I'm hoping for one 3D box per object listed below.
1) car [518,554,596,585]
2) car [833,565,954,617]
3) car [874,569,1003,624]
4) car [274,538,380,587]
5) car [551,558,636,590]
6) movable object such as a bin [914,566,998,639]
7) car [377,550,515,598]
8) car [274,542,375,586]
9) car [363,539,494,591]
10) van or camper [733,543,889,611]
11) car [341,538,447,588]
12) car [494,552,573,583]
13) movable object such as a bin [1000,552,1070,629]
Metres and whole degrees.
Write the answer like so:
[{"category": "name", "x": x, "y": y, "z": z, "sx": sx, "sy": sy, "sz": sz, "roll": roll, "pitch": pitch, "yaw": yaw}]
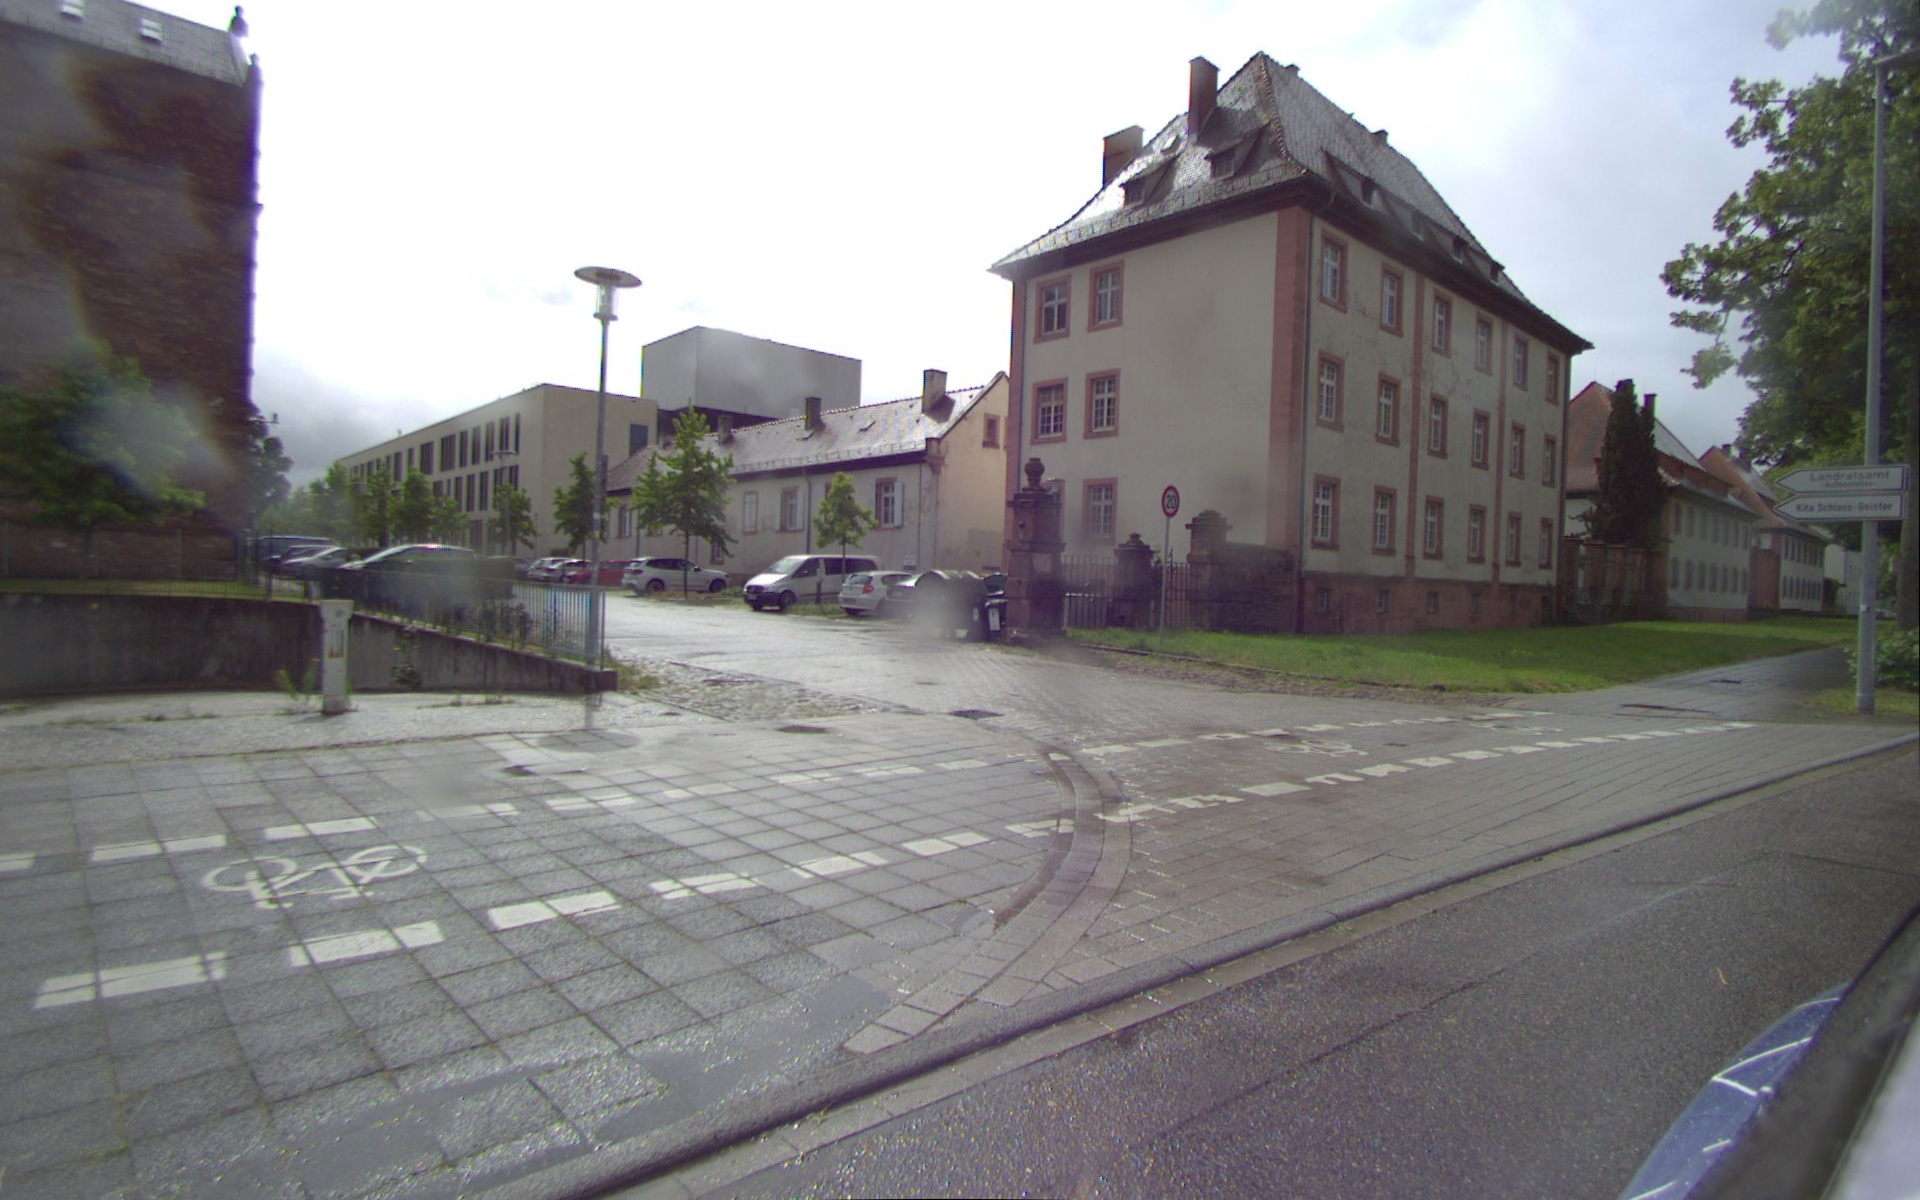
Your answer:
[{"category": "car", "x": -21.768, "y": -1.636, "z": 54.688, "sx": 3.511, "sy": 1.495, "sz": 1.707, "roll": 1, "pitch": 3, "yaw": -41}, {"category": "car", "x": -2.068, "y": -0.269, "z": 31.942, "sx": 3.511, "sy": 1.464, "sz": 1.598, "roll": 1, "pitch": 3, "yaw": -41}, {"category": "car", "x": -0.585, "y": -0.093, "z": 29.567, "sx": 3.511, "sy": 1.464, "sz": 1.598, "roll": 1, "pitch": 3, "yaw": -41}, {"category": "car", "x": -27.620, "y": -1.590, "z": 44.180, "sx": 3.738, "sy": 1.996, "sz": 1.758, "roll": 0, "pitch": 0, "yaw": -40}, {"category": "car", "x": -17.743, "y": -1.245, "z": 49.054, "sx": 3.511, "sy": 1.394, "sz": 1.707, "roll": 1, "pitch": 3, "yaw": -41}, {"category": "movable object such as a bin", "x": -0.089, "y": 0.045, "z": 21.950, "sx": 1.366, "sy": 1.475, "sz": 1.108, "roll": 1, "pitch": 2, "yaw": -41}, {"category": "car", "x": -16.652, "y": -0.825, "z": 32.856, "sx": 3.738, "sy": 1.471, "sz": 1.758, "roll": 0, "pitch": 0, "yaw": -40}, {"category": "car", "x": -29.165, "y": -1.604, "z": 46.467, "sx": 3.738, "sy": 1.923, "sz": 1.758, "roll": 0, "pitch": 0, "yaw": -40}, {"category": "car", "x": -18.328, "y": -1.158, "z": 34.951, "sx": 3.738, "sy": 1.713, "sz": 1.758, "roll": 0, "pitch": 0, "yaw": -40}, {"category": "van or camper", "x": -5.024, "y": -0.725, "z": 34.641, "sx": 5.094, "sy": 2.143, "sz": 1.792, "roll": 1, "pitch": 0, "yaw": -41}, {"category": "car", "x": -24.208, "y": -1.551, "z": 43.324, "sx": 3.738, "sy": 2.032, "sz": 1.758, "roll": 0, "pitch": 0, "yaw": -40}, {"category": "car", "x": -23.689, "y": -1.782, "z": 56.229, "sx": 3.708, "sy": 1.638, "sz": 1.735, "roll": 0, "pitch": 0, "yaw": -41}, {"category": "movable object such as a bin", "x": 1.504, "y": -0.183, "z": 20.251, "sx": 1.077, "sy": 1.475, "sz": 0.801, "roll": 1, "pitch": 2, "yaw": -41}]
